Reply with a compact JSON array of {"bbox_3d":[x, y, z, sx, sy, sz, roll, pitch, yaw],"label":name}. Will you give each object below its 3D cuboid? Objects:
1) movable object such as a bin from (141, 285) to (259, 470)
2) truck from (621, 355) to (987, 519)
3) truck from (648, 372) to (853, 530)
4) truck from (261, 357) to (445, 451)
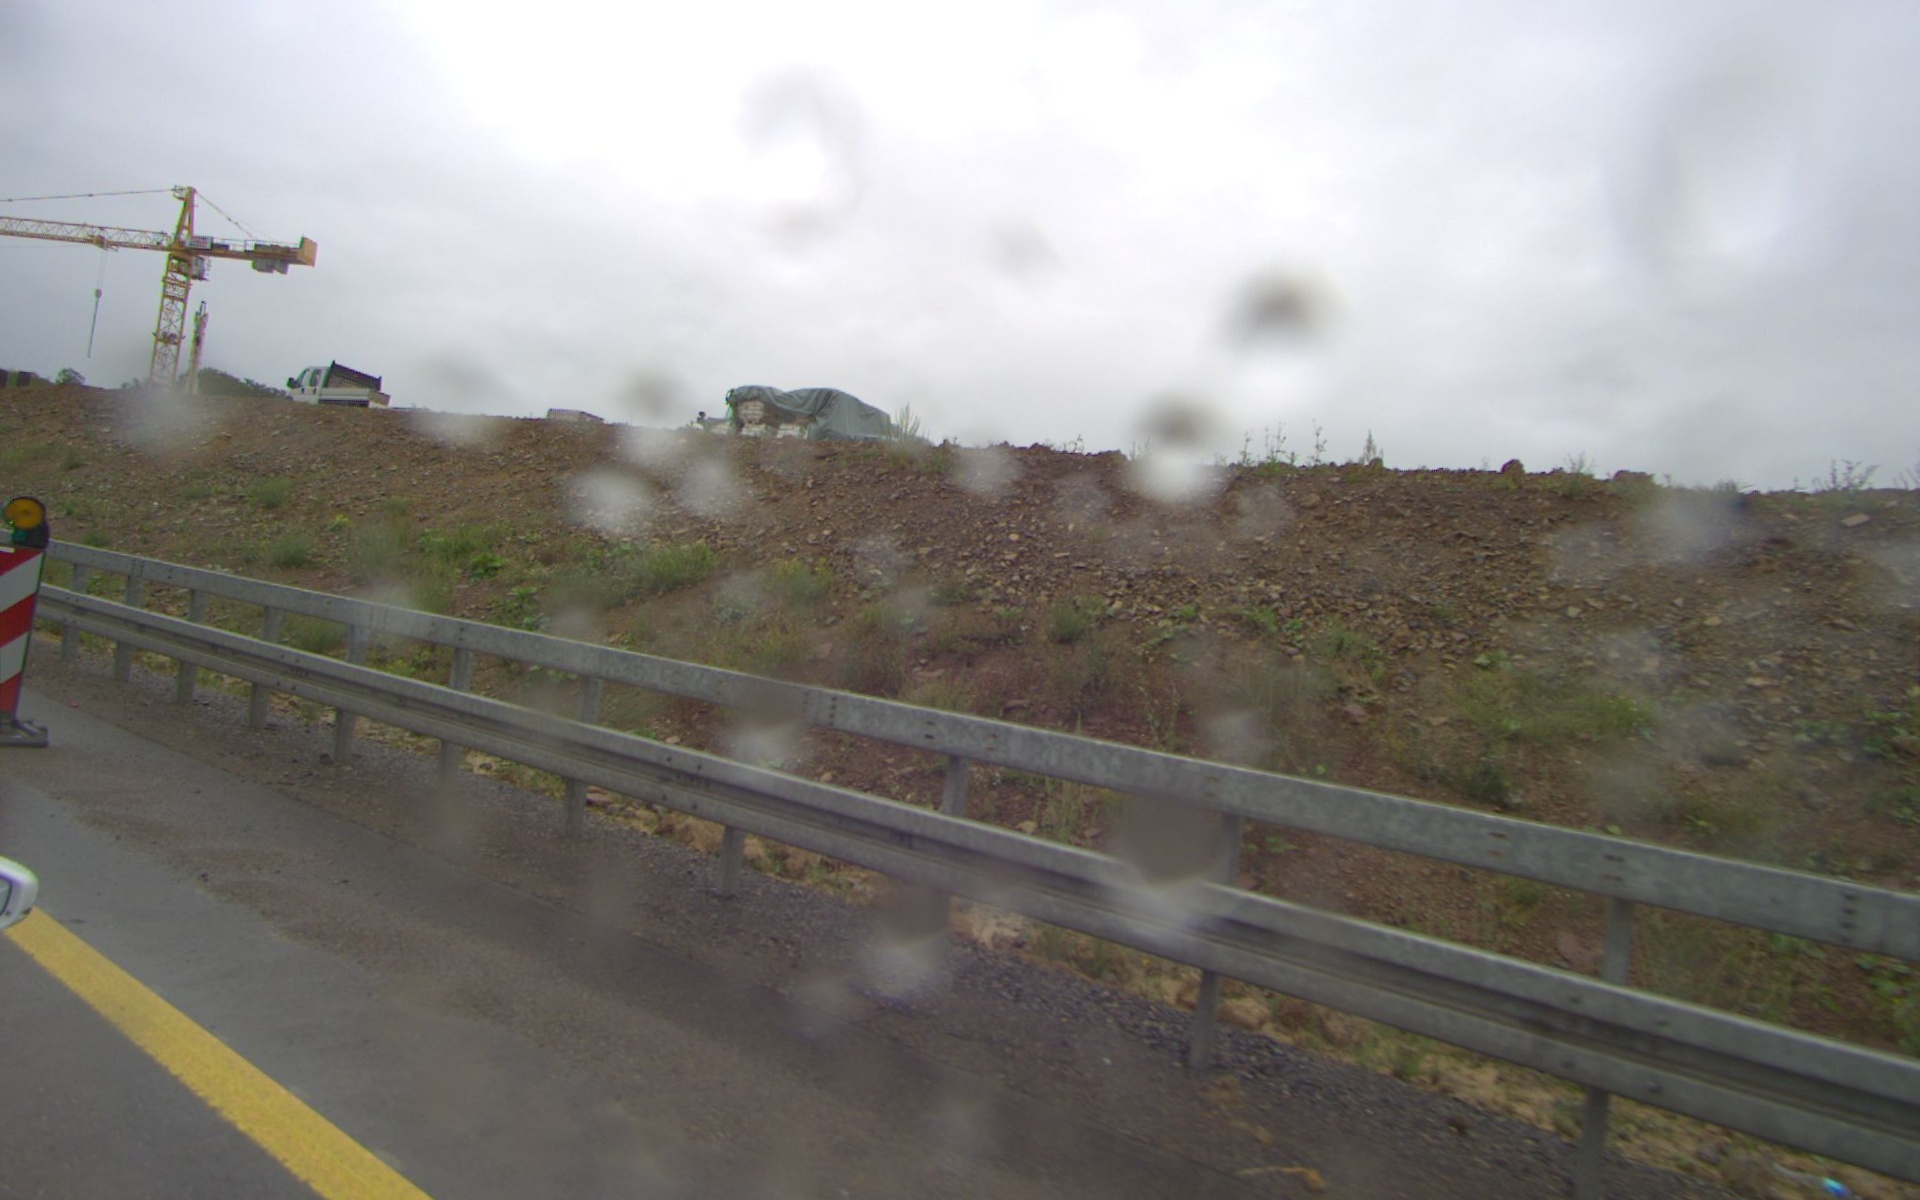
[{"bbox_3d":[-54.374,-15.403,71.831,4.705,10.969,10.179,7,-2,-43],"label":"movable object such as a bin"},{"bbox_3d":[-4.071,-3.863,25.016,8.817,2.908,3.400,5,-2,34],"label":"truck"},{"bbox_3d":[-6.667,-4.629,31.775,5.880,4.268,2.377,6,-1,31],"label":"truck"},{"bbox_3d":[-22.163,-7.011,36.629,6.869,2.584,2.650,5,-2,31],"label":"truck"}]
